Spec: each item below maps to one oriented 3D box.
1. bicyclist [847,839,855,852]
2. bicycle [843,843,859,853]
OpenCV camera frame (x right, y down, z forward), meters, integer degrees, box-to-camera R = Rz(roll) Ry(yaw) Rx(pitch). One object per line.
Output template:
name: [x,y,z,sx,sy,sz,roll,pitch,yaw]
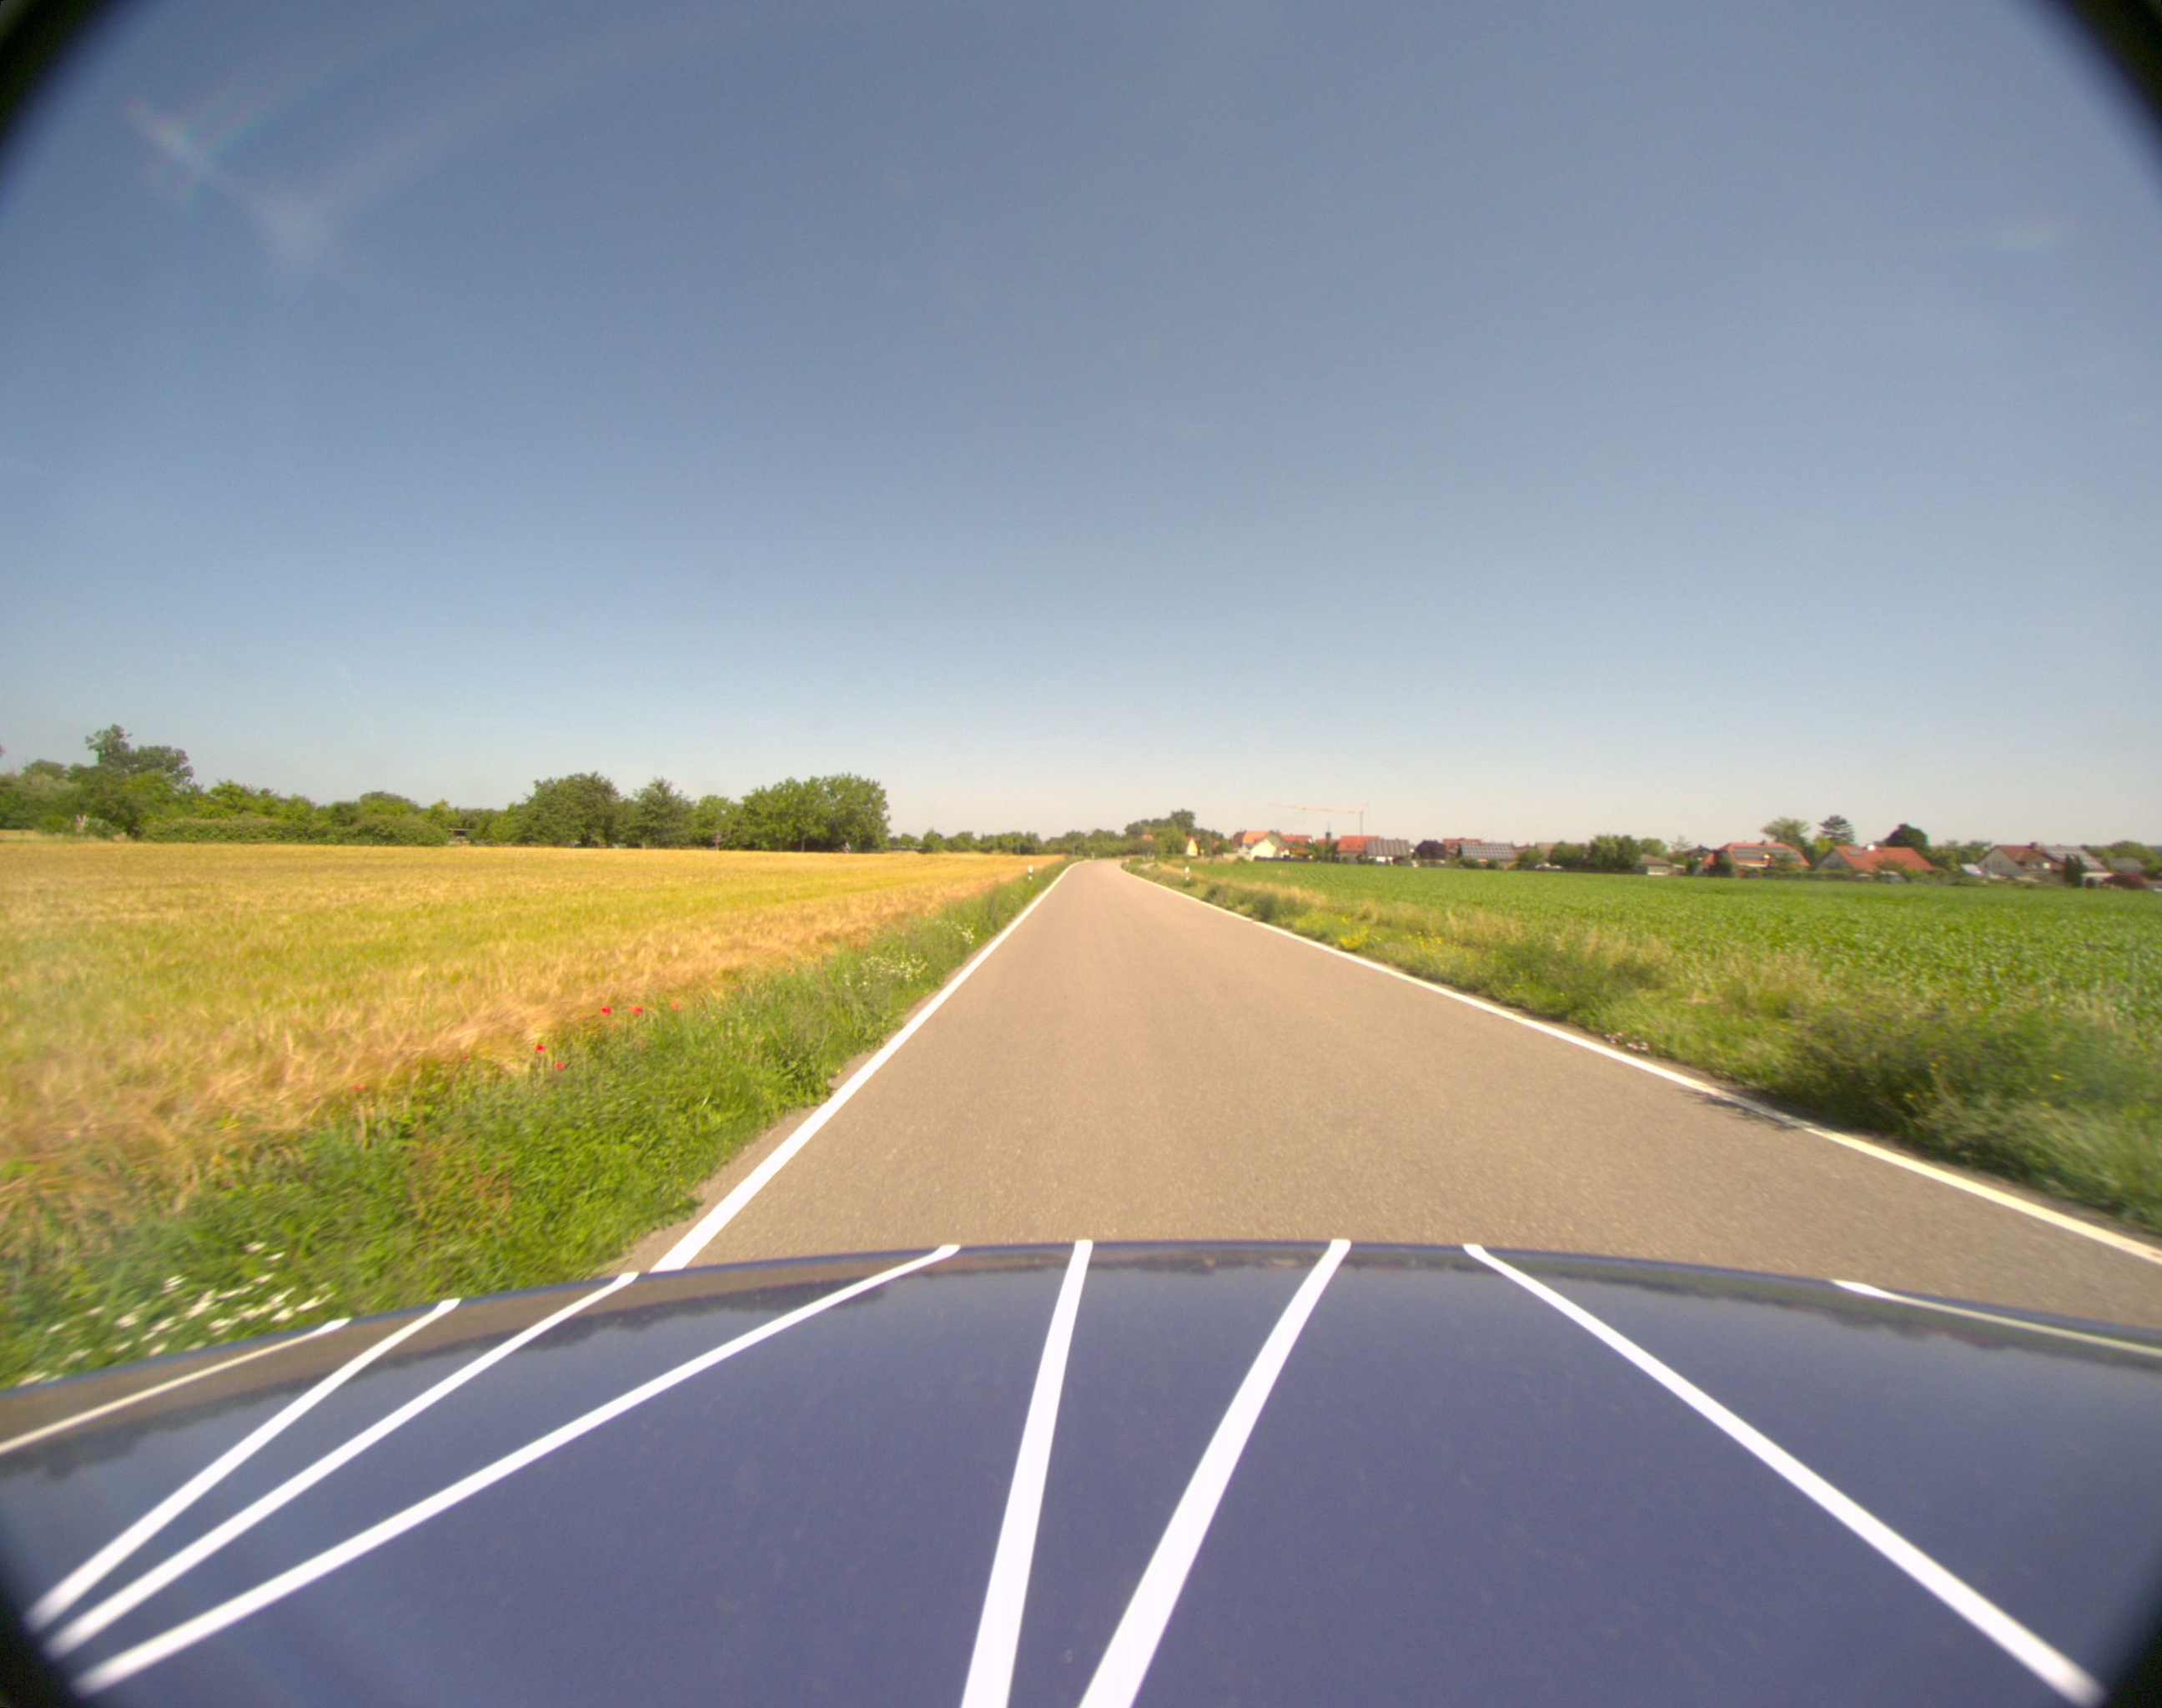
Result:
bicyclist: [-28.127,-1.070,92.901,0.737,1.565,0.673,1,2,-34]
bicycle: [-28.138,-0.725,92.909,1.772,1.109,0.520,1,1,-34]
